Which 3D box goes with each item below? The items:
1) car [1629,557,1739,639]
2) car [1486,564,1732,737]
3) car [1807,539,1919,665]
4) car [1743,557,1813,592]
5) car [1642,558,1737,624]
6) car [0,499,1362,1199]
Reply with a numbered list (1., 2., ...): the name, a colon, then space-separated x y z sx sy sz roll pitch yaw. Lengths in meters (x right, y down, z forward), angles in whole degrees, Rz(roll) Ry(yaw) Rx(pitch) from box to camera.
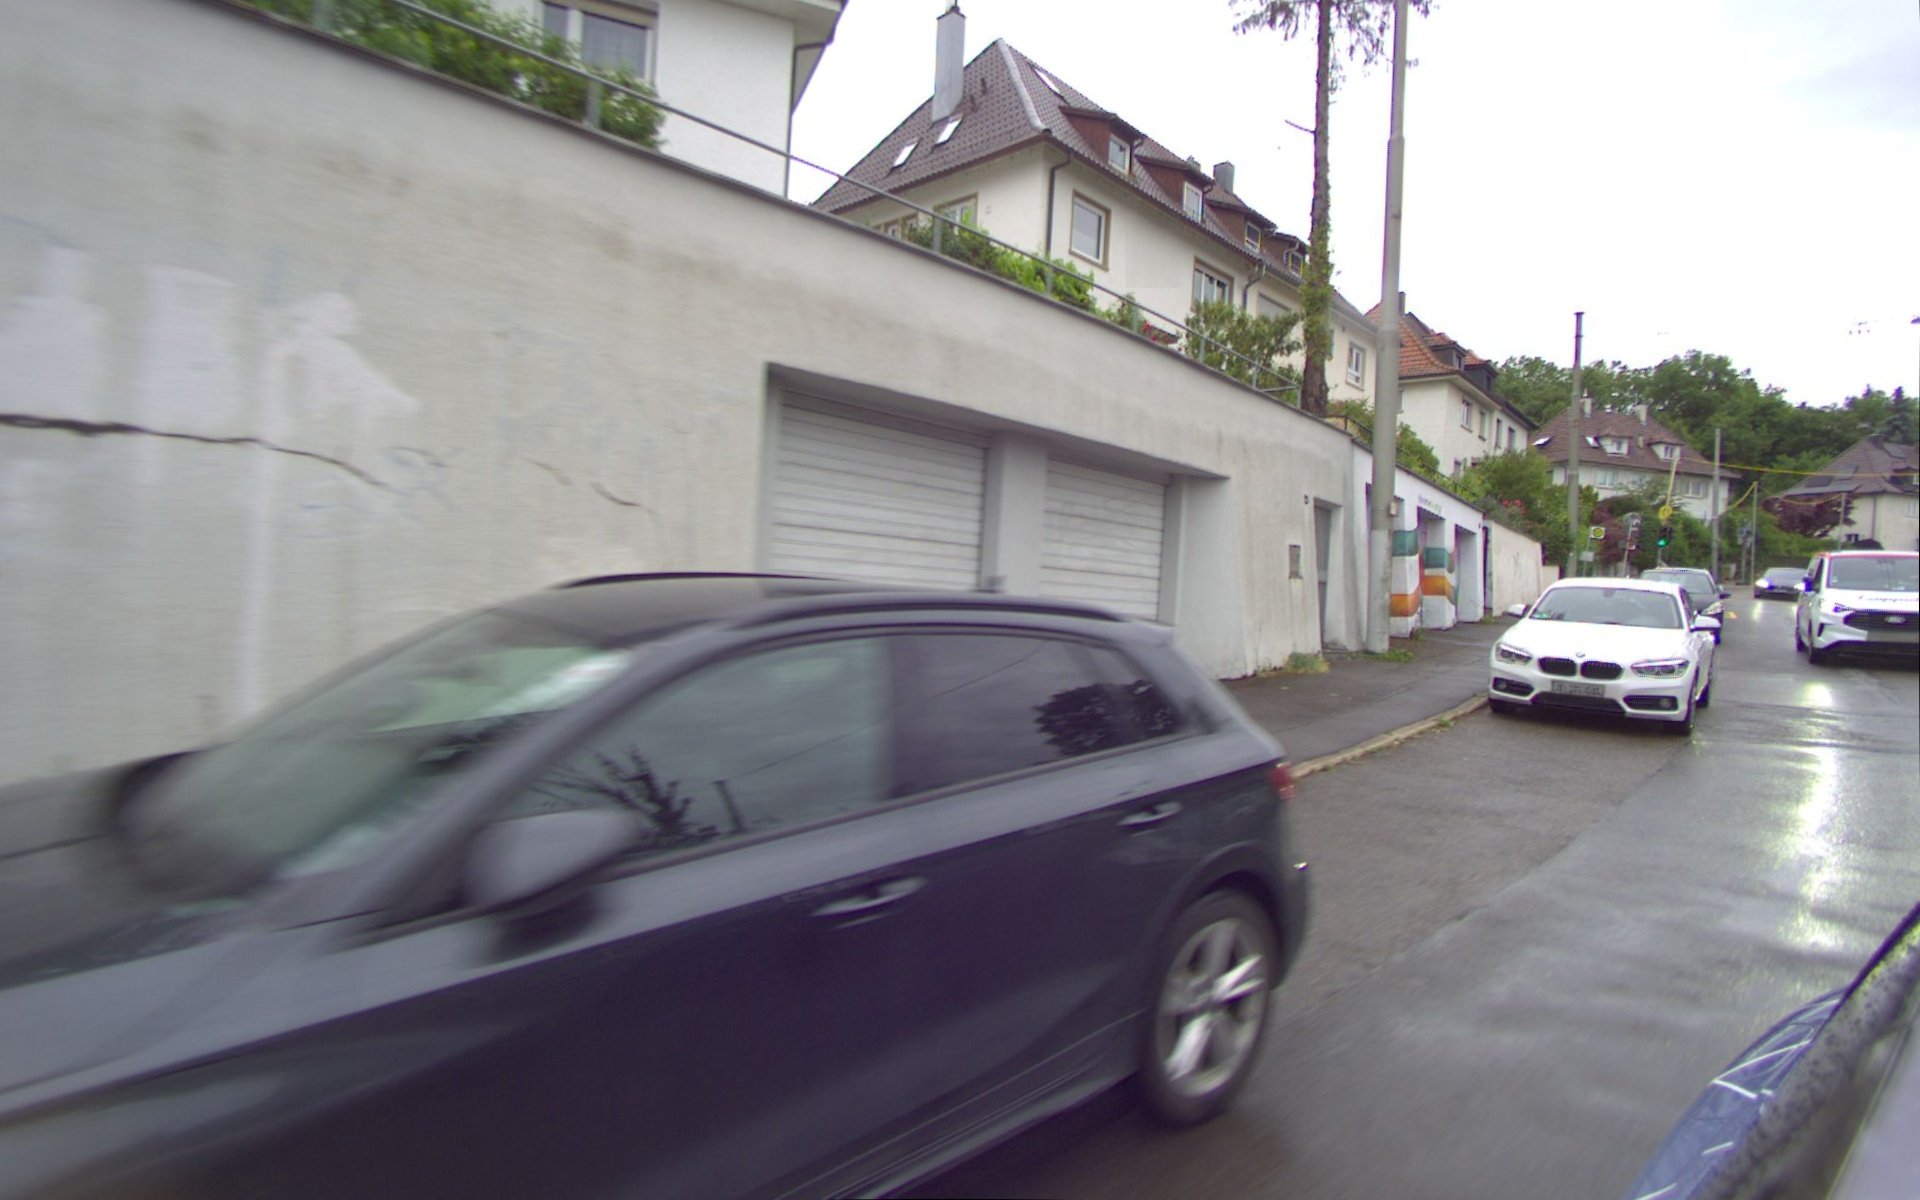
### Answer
1. car: 15.615 -0.137 21.999 1.708 1.531 3.953 4 4 33
2. car: 7.144 0.373 10.958 1.704 1.431 3.984 4 5 40
3. car: 16.289 -0.035 17.726 2.033 1.963 4.454 2 3 38
4. car: 37.190 -1.200 45.976 4.443 1.453 1.985 -3 5 -45
5. car: 18.824 -0.307 26.117 1.777 1.437 4.373 5 5 36
6. car: -0.904 0.590 2.487 4.110 1.514 1.758 0 3 -40
